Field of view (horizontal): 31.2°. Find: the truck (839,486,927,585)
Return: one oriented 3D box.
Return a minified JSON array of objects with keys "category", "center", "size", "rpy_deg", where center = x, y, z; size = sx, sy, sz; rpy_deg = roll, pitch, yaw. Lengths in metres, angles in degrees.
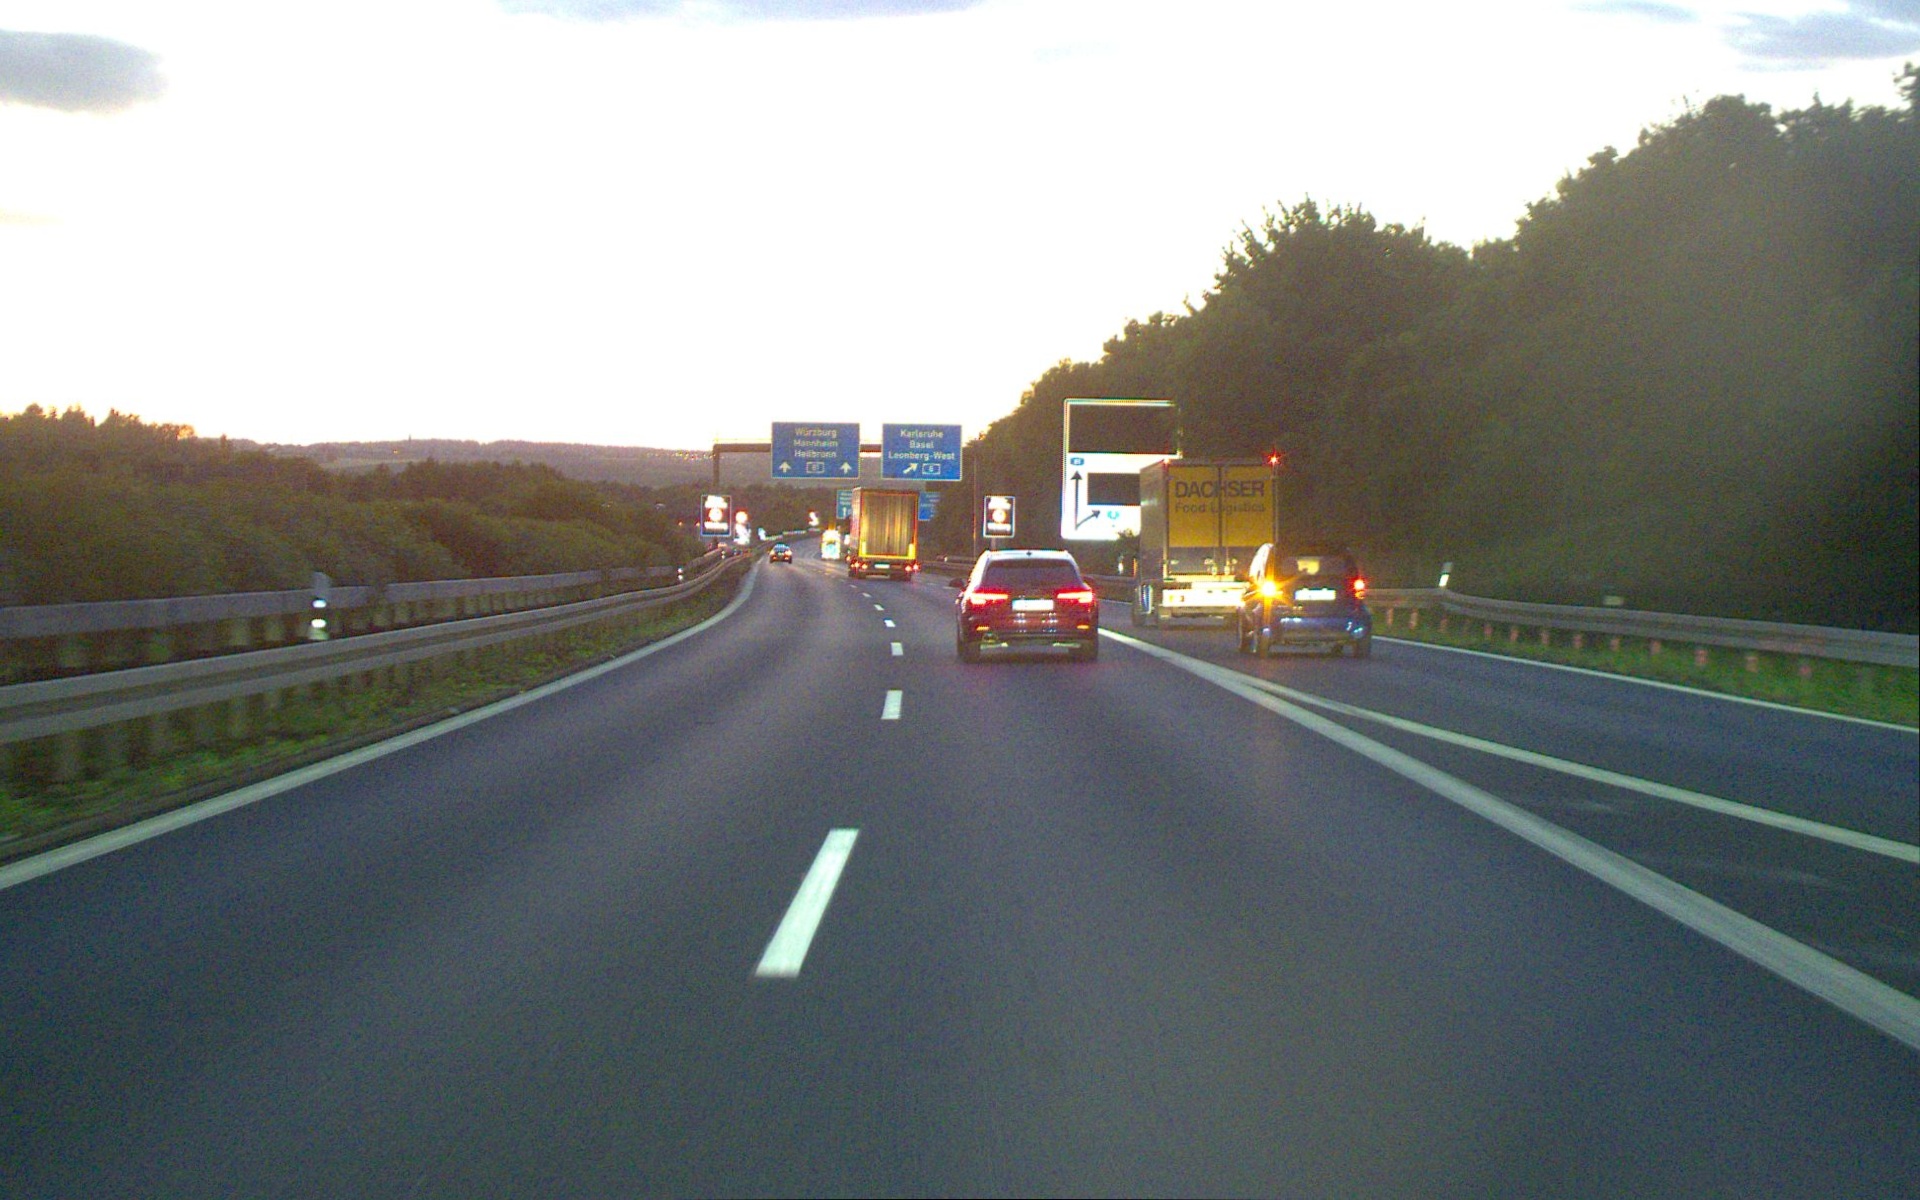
[{"category":"truck","center":[-3.510,-2.848,154.443],"size":[3.509,4.286,9.892],"rpy_deg":[1,0,-4]}]

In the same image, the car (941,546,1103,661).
[{"category":"car","center":[0.778,0.030,45.848],"size":[1.915,1.437,4.000],"rpy_deg":[1,0,-2]}]

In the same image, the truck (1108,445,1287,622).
[{"category":"truck","center":[4.276,-1.205,63.034],"size":[2.268,2.961,6.632],"rpy_deg":[3,1,-4]}]

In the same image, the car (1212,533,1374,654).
[{"category":"car","center":[4.452,-0.098,46.398],"size":[1.610,1.550,3.319],"rpy_deg":[1,0,-4]}]
